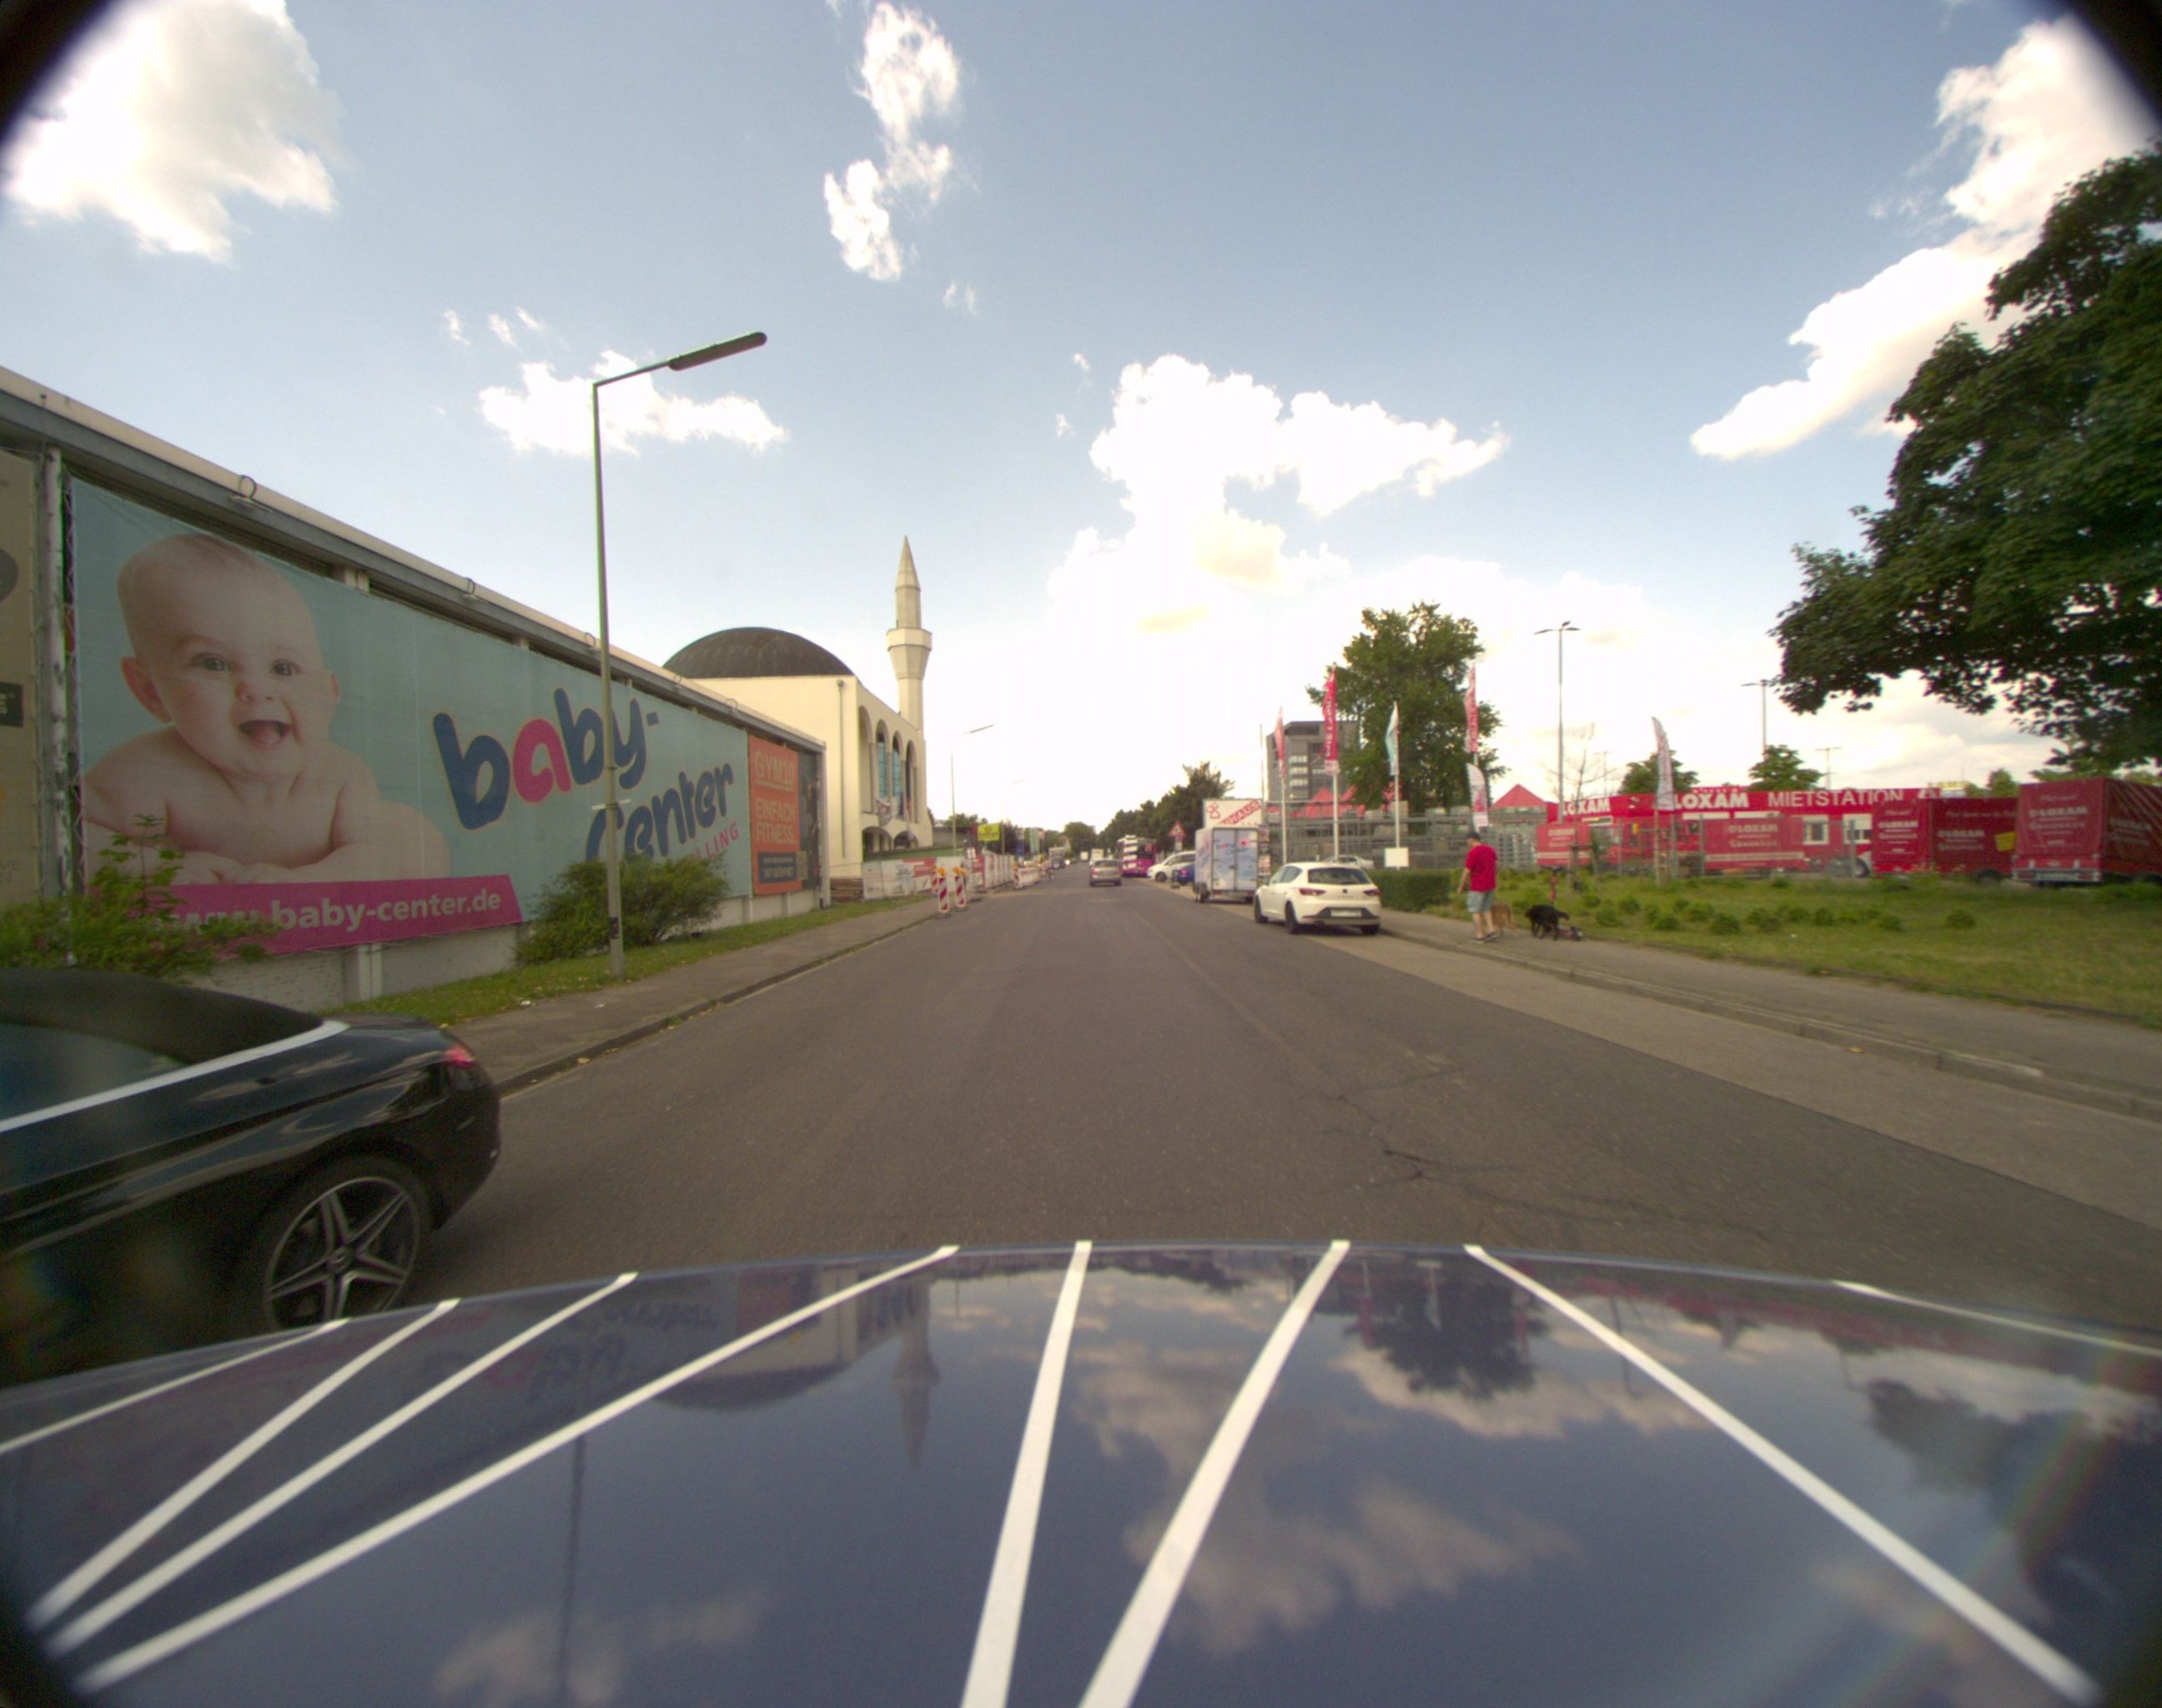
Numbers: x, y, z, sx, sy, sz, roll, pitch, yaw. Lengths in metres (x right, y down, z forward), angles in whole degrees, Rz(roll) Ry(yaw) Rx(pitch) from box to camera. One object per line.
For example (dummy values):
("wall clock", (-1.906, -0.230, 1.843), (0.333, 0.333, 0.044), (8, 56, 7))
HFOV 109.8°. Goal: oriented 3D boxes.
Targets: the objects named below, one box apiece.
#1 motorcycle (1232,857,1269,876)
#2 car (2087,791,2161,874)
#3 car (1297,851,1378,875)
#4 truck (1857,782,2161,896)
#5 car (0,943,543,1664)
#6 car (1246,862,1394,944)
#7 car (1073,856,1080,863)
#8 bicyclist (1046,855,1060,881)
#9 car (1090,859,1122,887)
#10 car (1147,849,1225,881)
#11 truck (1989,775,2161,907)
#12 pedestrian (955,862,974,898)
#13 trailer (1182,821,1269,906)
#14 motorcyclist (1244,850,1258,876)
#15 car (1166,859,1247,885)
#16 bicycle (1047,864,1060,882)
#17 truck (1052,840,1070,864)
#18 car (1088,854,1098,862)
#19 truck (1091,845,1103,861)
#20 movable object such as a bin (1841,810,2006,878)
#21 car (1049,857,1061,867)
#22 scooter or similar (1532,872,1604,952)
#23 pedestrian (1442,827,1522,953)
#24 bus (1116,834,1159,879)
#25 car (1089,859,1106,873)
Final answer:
("motorcycle", (11.201, 0.825, 50.231), (2.227, 1.206, 0.994), (-1, 0, 0))
("car", (34.523, -0.659, 21.996), (2.272, 2.579, 6.436), (-2, 2, 0))
("car", (16.911, 0.578, 50.318), (4.695, 1.445, 1.954), (-2, 0, 1))
("truck", (23.432, -0.392, 19.143), (5.768, 2.579, 1.815), (-2, 2, 2))
("car", (-3.316, 1.136, 0.985), (1.812, 1.382, 4.588), (-4, 0, 1))
("car", (4.945, 0.946, 16.380), (1.770, 1.470, 4.234), (1, 0, -1))
("car", (-1.228, 1.420, 205.201), (1.797, 1.881, 4.000), (-2, 0, -1))
("bicyclist", (-2.018, 1.008, 54.902), (0.808, 1.782, 1.207), (-4, 1, -1))
("car", (1.321, 0.996, 42.042), (1.595, 1.456, 3.761), (0, 0, -1))
("car", (6.968, 0.729, 50.615), (5.011, 1.938, 1.993), (-2, 0, 5))
("truck", (22.937, -0.354, 15.952), (5.561, 2.579, 1.779), (-2, 2, 0))
("pedestrian", (-5.215, 1.157, 34.012), (0.683, 1.525, 1.130), (-2, 1, -2))
("trailer", (5.054, 0.312, 27.217), (2.145, 2.767, 4.703), (1, 0, -1))
("motorcyclist", (11.217, 0.575, 50.223), (0.676, 1.713, 0.994), (-1, 0, 1))
("car", (7.449, 1.018, 45.031), (4.385, 1.369, 1.925), (-1, 0, -25))
("bicycle", (-1.999, 1.366, 54.978), (0.800, 1.173, 2.626), (-3, 0, -1))
("truck", (-3.662, -0.293, 138.529), (2.785, 4.092, 8.278), (-4, 0, 0))
("car", (2.227, 0.660, 141.506), (1.687, 1.461, 3.611), (0, 0, -1))
("truck", (3.752, -0.207, 178.744), (2.755, 3.701, 7.170), (0, 1, -1))
("movable object such as a bin", (30.272, -0.336, 27.476), (1.998, 2.262, 3.545), (-2, 0, 0))
("car", (-4.267, 1.308, 125.528), (1.666, 1.332, 3.984), (-5, 0, -1))
("scooter or similar", (7.958, 0.926, 12.465), (0.518, 1.186, 1.281), (-2, 1, 11))
("pedestrian", (6.672, 0.576, 12.680), (0.811, 2.002, 0.885), (-2, 1, -1))
("bus", (4.749, 0.207, 66.437), (2.670, 3.403, 13.217), (2, 0, 0))
("car", (1.860, 1.330, 85.708), (1.801, 1.450, 4.384), (0, 0, 0))
